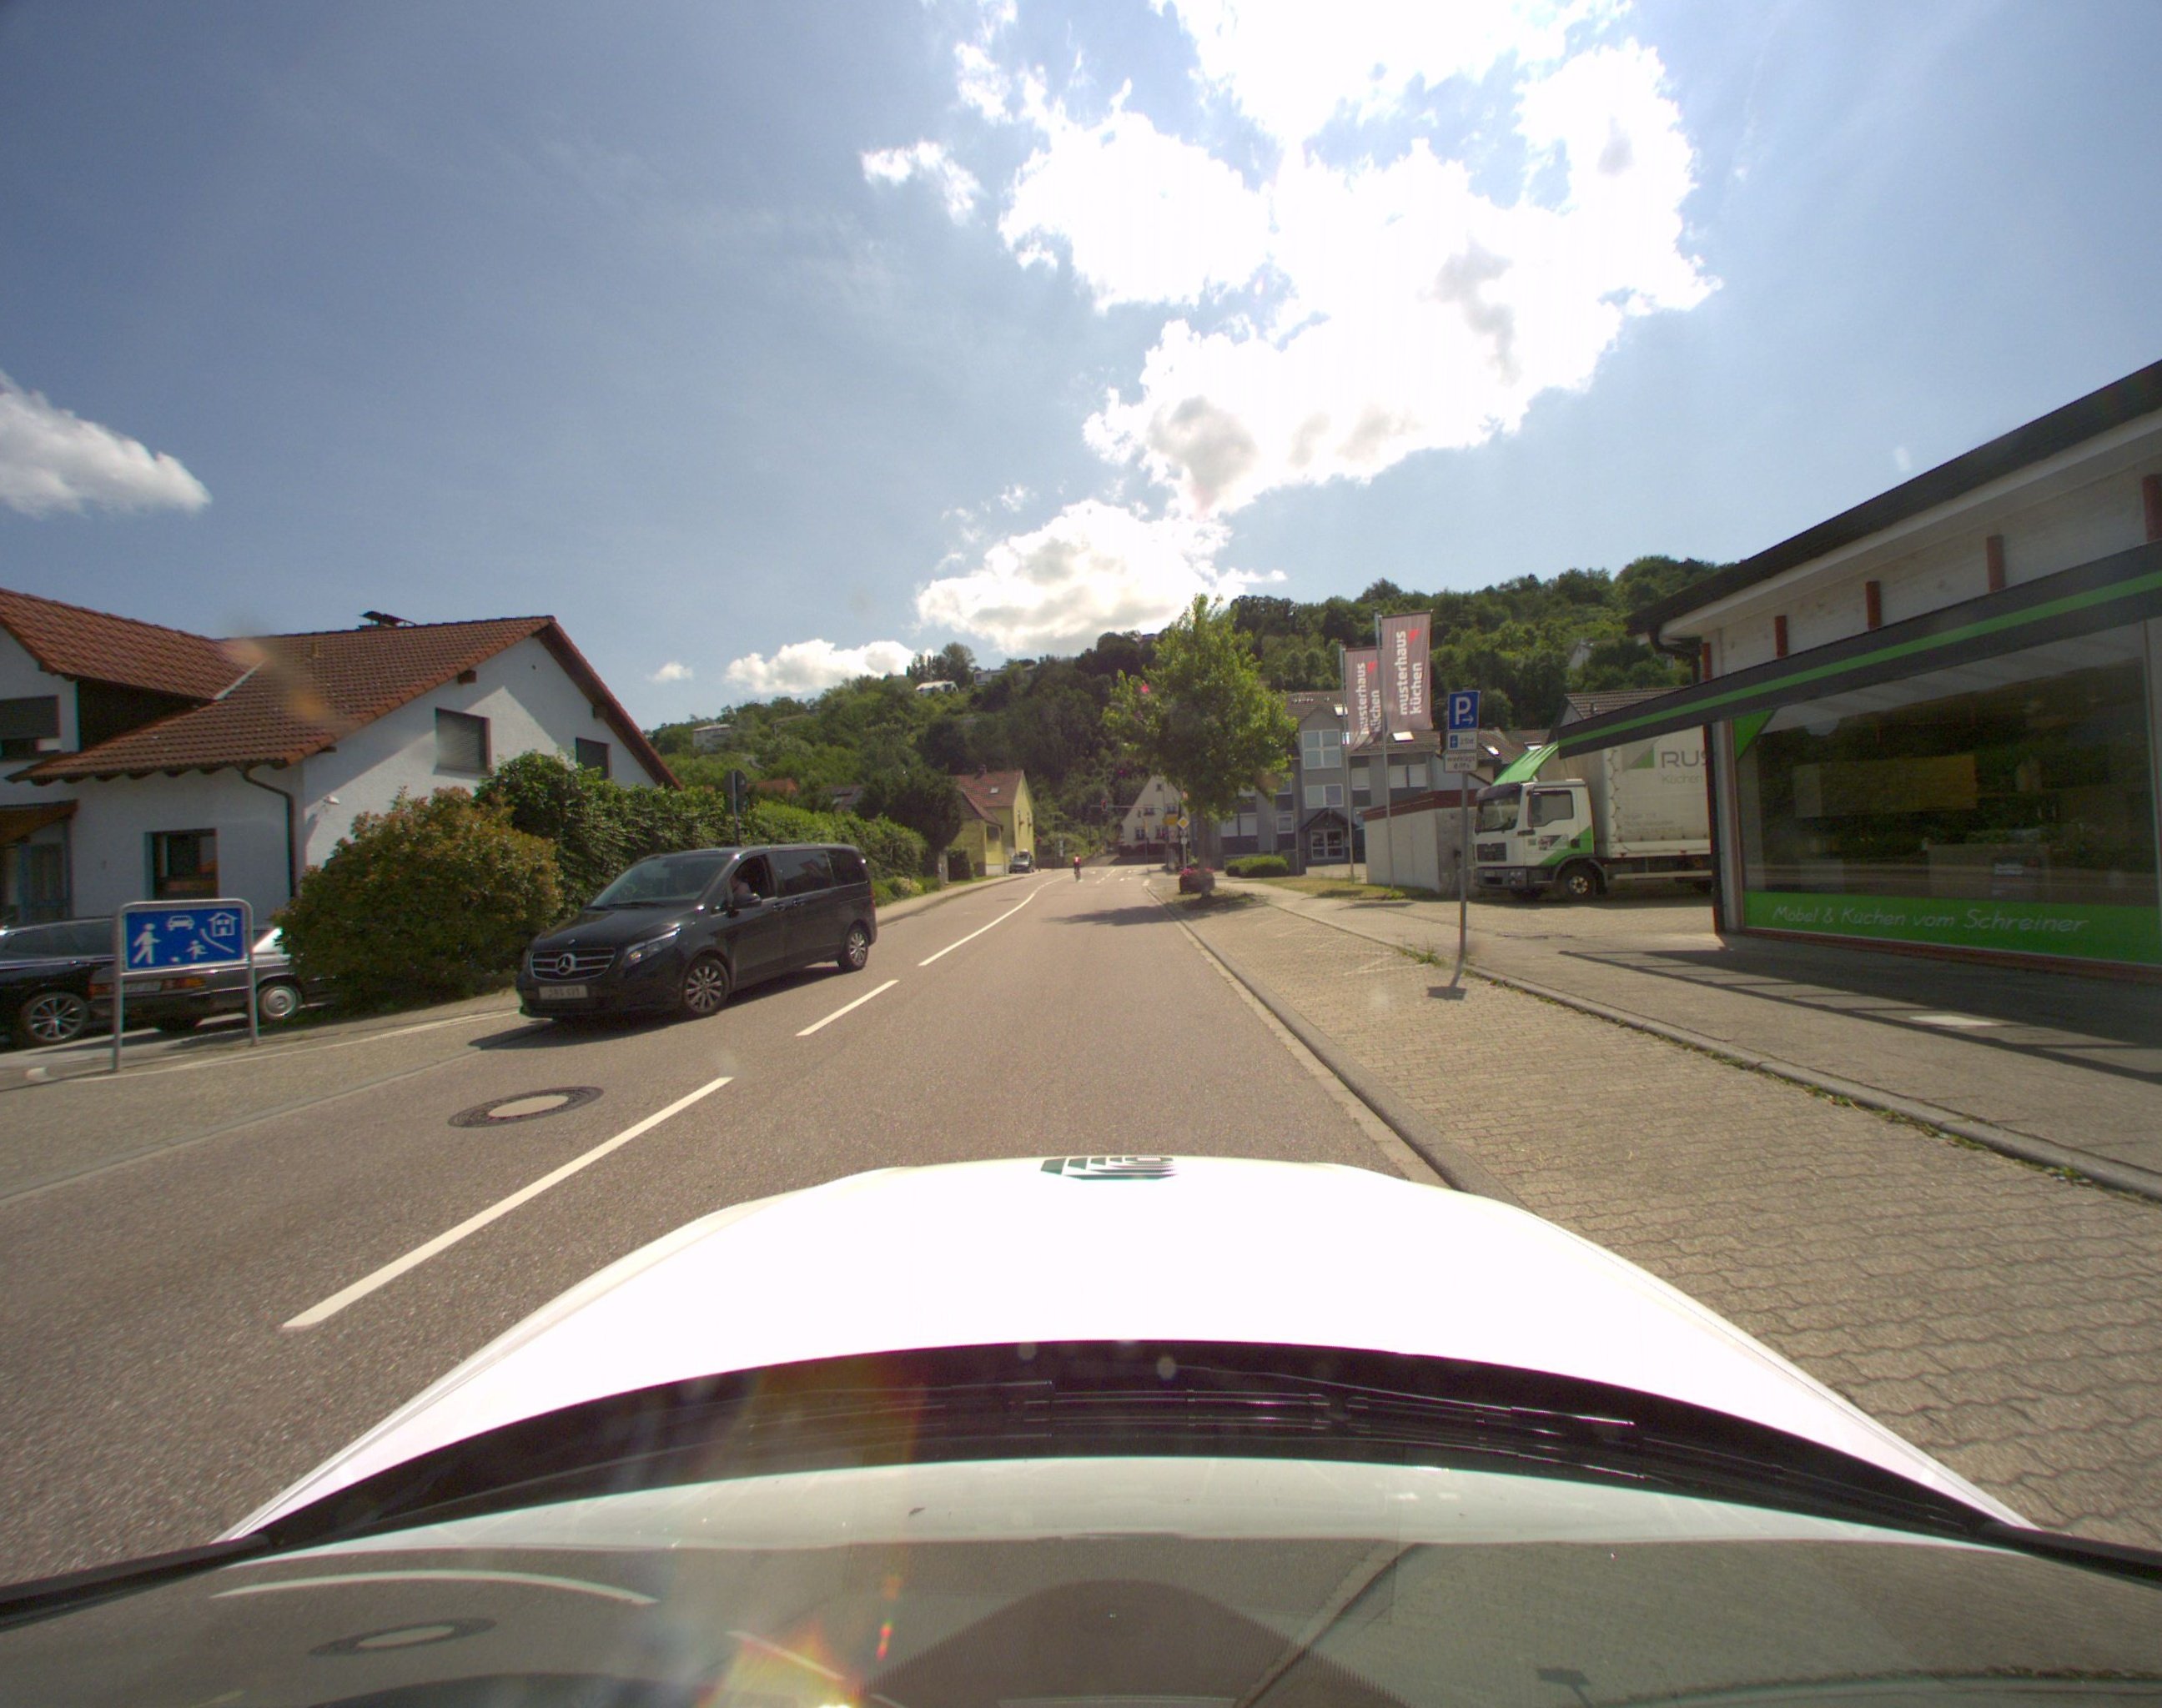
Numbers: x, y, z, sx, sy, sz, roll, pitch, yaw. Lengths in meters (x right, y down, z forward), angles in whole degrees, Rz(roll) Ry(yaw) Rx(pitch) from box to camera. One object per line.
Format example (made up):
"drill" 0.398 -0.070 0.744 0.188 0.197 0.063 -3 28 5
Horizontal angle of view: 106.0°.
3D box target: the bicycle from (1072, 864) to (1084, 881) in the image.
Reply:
"bicycle" -0.143 1.052 45.695 0.628 0.905 1.657 -2 0 0

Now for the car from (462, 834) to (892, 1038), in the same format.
"car" -4.493 0.784 10.269 1.980 1.852 5.087 -4 0 12

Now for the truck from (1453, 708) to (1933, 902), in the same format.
"truck" 12.778 -0.952 17.575 8.140 3.573 2.678 -2 -1 1

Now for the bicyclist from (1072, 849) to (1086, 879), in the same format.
"bicyclist" -0.111 0.563 45.590 0.758 1.664 0.868 -2 0 0

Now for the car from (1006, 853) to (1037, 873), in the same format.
"car" -5.146 0.725 70.706 1.984 1.635 4.635 -1 0 4

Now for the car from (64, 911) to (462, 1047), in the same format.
"car" -11.815 1.714 12.234 1.653 1.285 4.005 -5 0 5

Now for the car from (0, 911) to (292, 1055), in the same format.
"car" -14.289 1.788 11.747 1.759 1.550 4.002 -4 0 2
